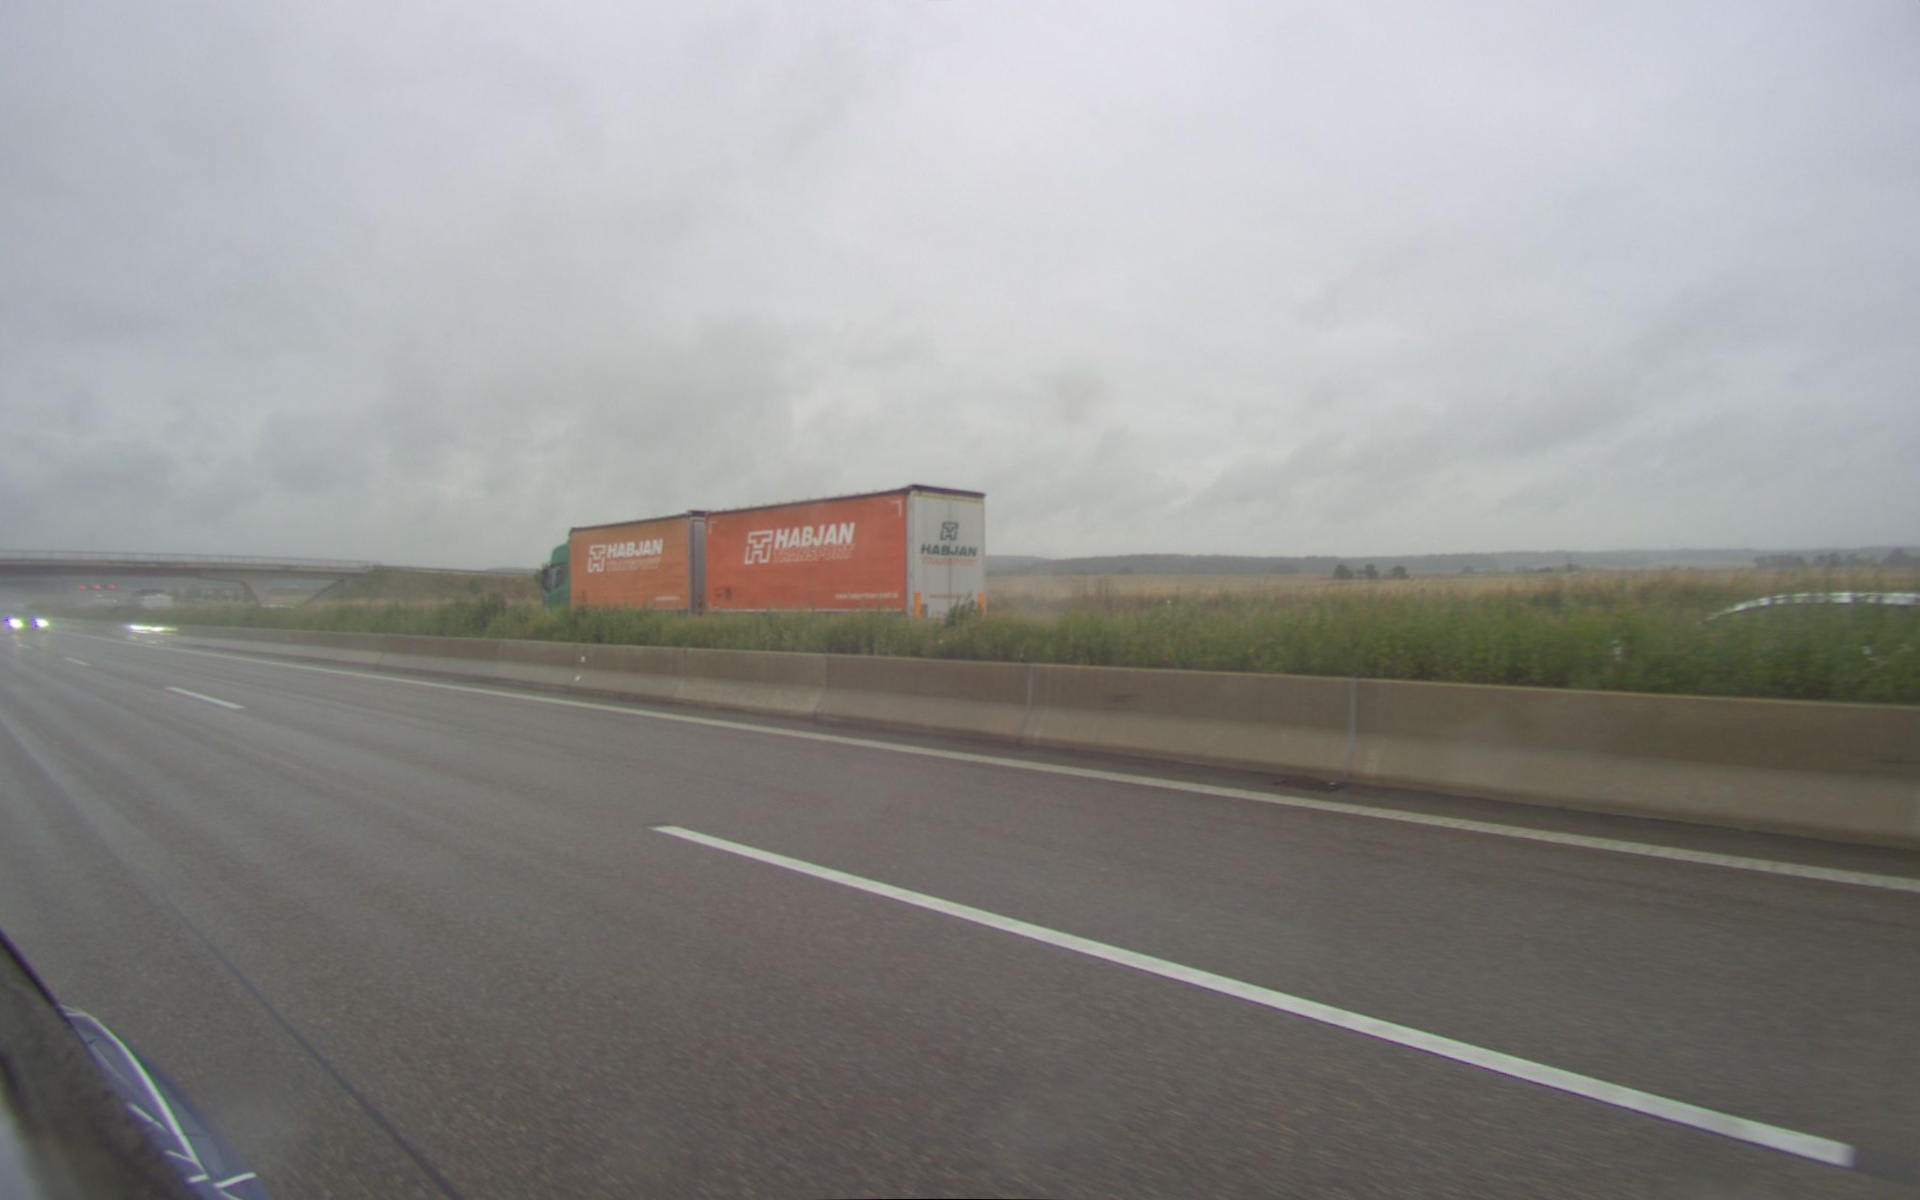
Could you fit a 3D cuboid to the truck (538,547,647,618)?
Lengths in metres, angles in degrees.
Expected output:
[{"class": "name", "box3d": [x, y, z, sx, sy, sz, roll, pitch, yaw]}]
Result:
[{"class": "truck", "box3d": [-19.124, -0.816, 52.502, 5.684, 3.448, 3.066, -1, -1, 43]}]

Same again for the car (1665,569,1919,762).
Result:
[{"class": "car", "box3d": [9.439, 0.605, 9.901, 3.998, 1.763, 1.800, -1, -1, 41]}]

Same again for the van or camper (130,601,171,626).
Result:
[{"class": "van or camper", "box3d": [-83.884, 1.394, 104.790, 6.756, 2.527, 2.348, -1, -1, 43]}]

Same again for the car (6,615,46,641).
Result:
[{"class": "car", "box3d": [-60.911, 1.811, 65.987, 3.734, 1.564, 1.678, 0, 0, 43]}]

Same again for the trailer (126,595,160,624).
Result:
[{"class": "trailer", "box3d": [-114.892, 1.353, 142.178, 2.198, 4.027, 14.214, 1, -1, -45]}]

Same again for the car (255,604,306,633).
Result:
[{"class": "car", "box3d": [-34.176, 0.913, 50.859, 3.088, 1.361, 1.381, 0, 0, 41]}]

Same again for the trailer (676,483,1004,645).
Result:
[{"class": "trailer", "box3d": [-3.444, -0.710, 26.237, 9.444, 3.483, 3.221, -1, -1, 44]}]

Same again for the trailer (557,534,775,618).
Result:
[{"class": "trailer", "box3d": [-14.328, -0.890, 47.960, 14.235, 3.444, 3.080, -1, -1, 43]}]

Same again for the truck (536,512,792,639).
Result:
[{"class": "truck", "box3d": [-9.732, -0.576, 32.294, 10.131, 3.467, 3.230, -1, -1, 44]}]
